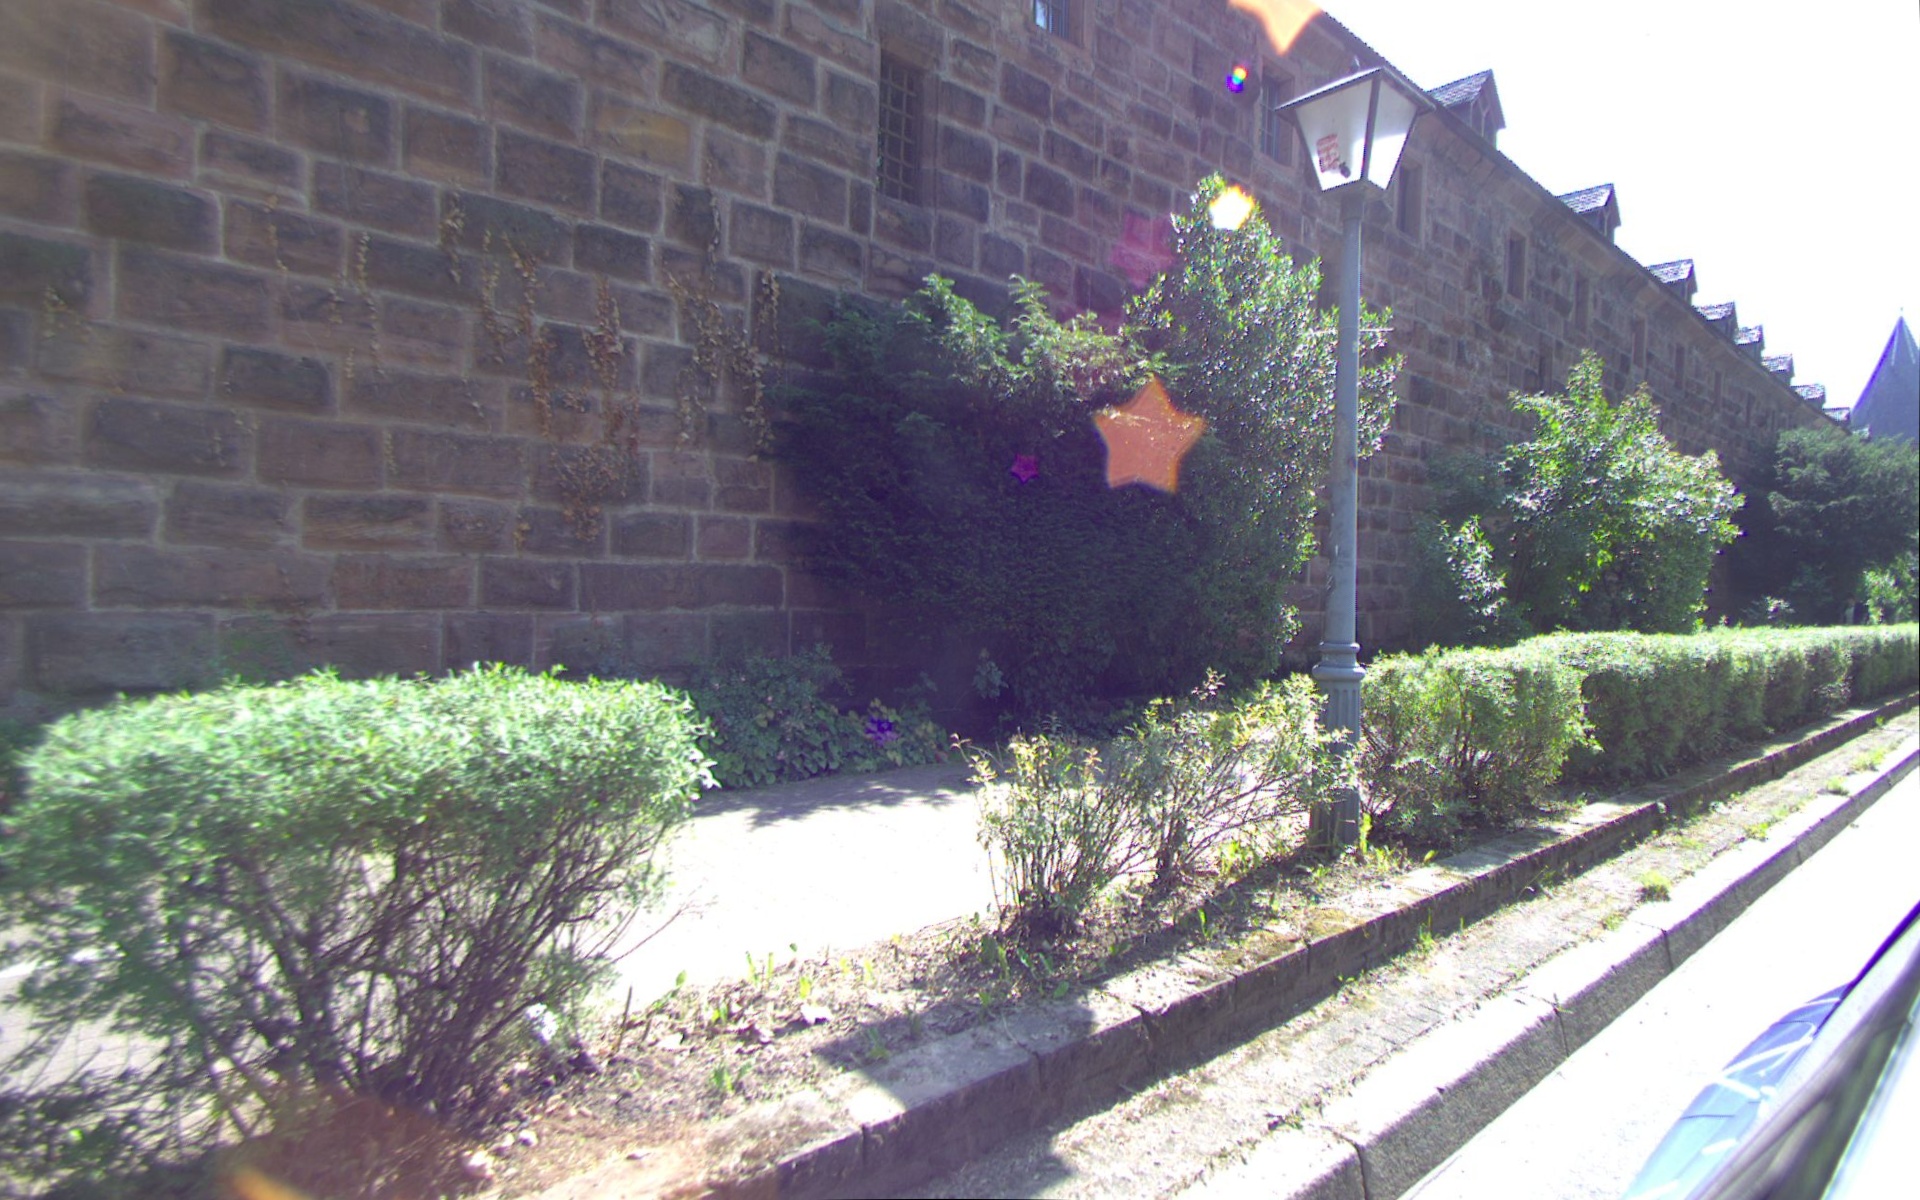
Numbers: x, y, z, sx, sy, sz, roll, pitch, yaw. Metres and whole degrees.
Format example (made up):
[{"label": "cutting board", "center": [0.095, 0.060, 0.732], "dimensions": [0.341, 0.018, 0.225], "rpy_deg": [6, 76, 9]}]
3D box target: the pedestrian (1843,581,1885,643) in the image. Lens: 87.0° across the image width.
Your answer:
[{"label": "pedestrian", "center": [25.219, 0.328, 28.233], "dimensions": [0.692, 1.672, 0.700], "rpy_deg": [1, 2, -38]}]
